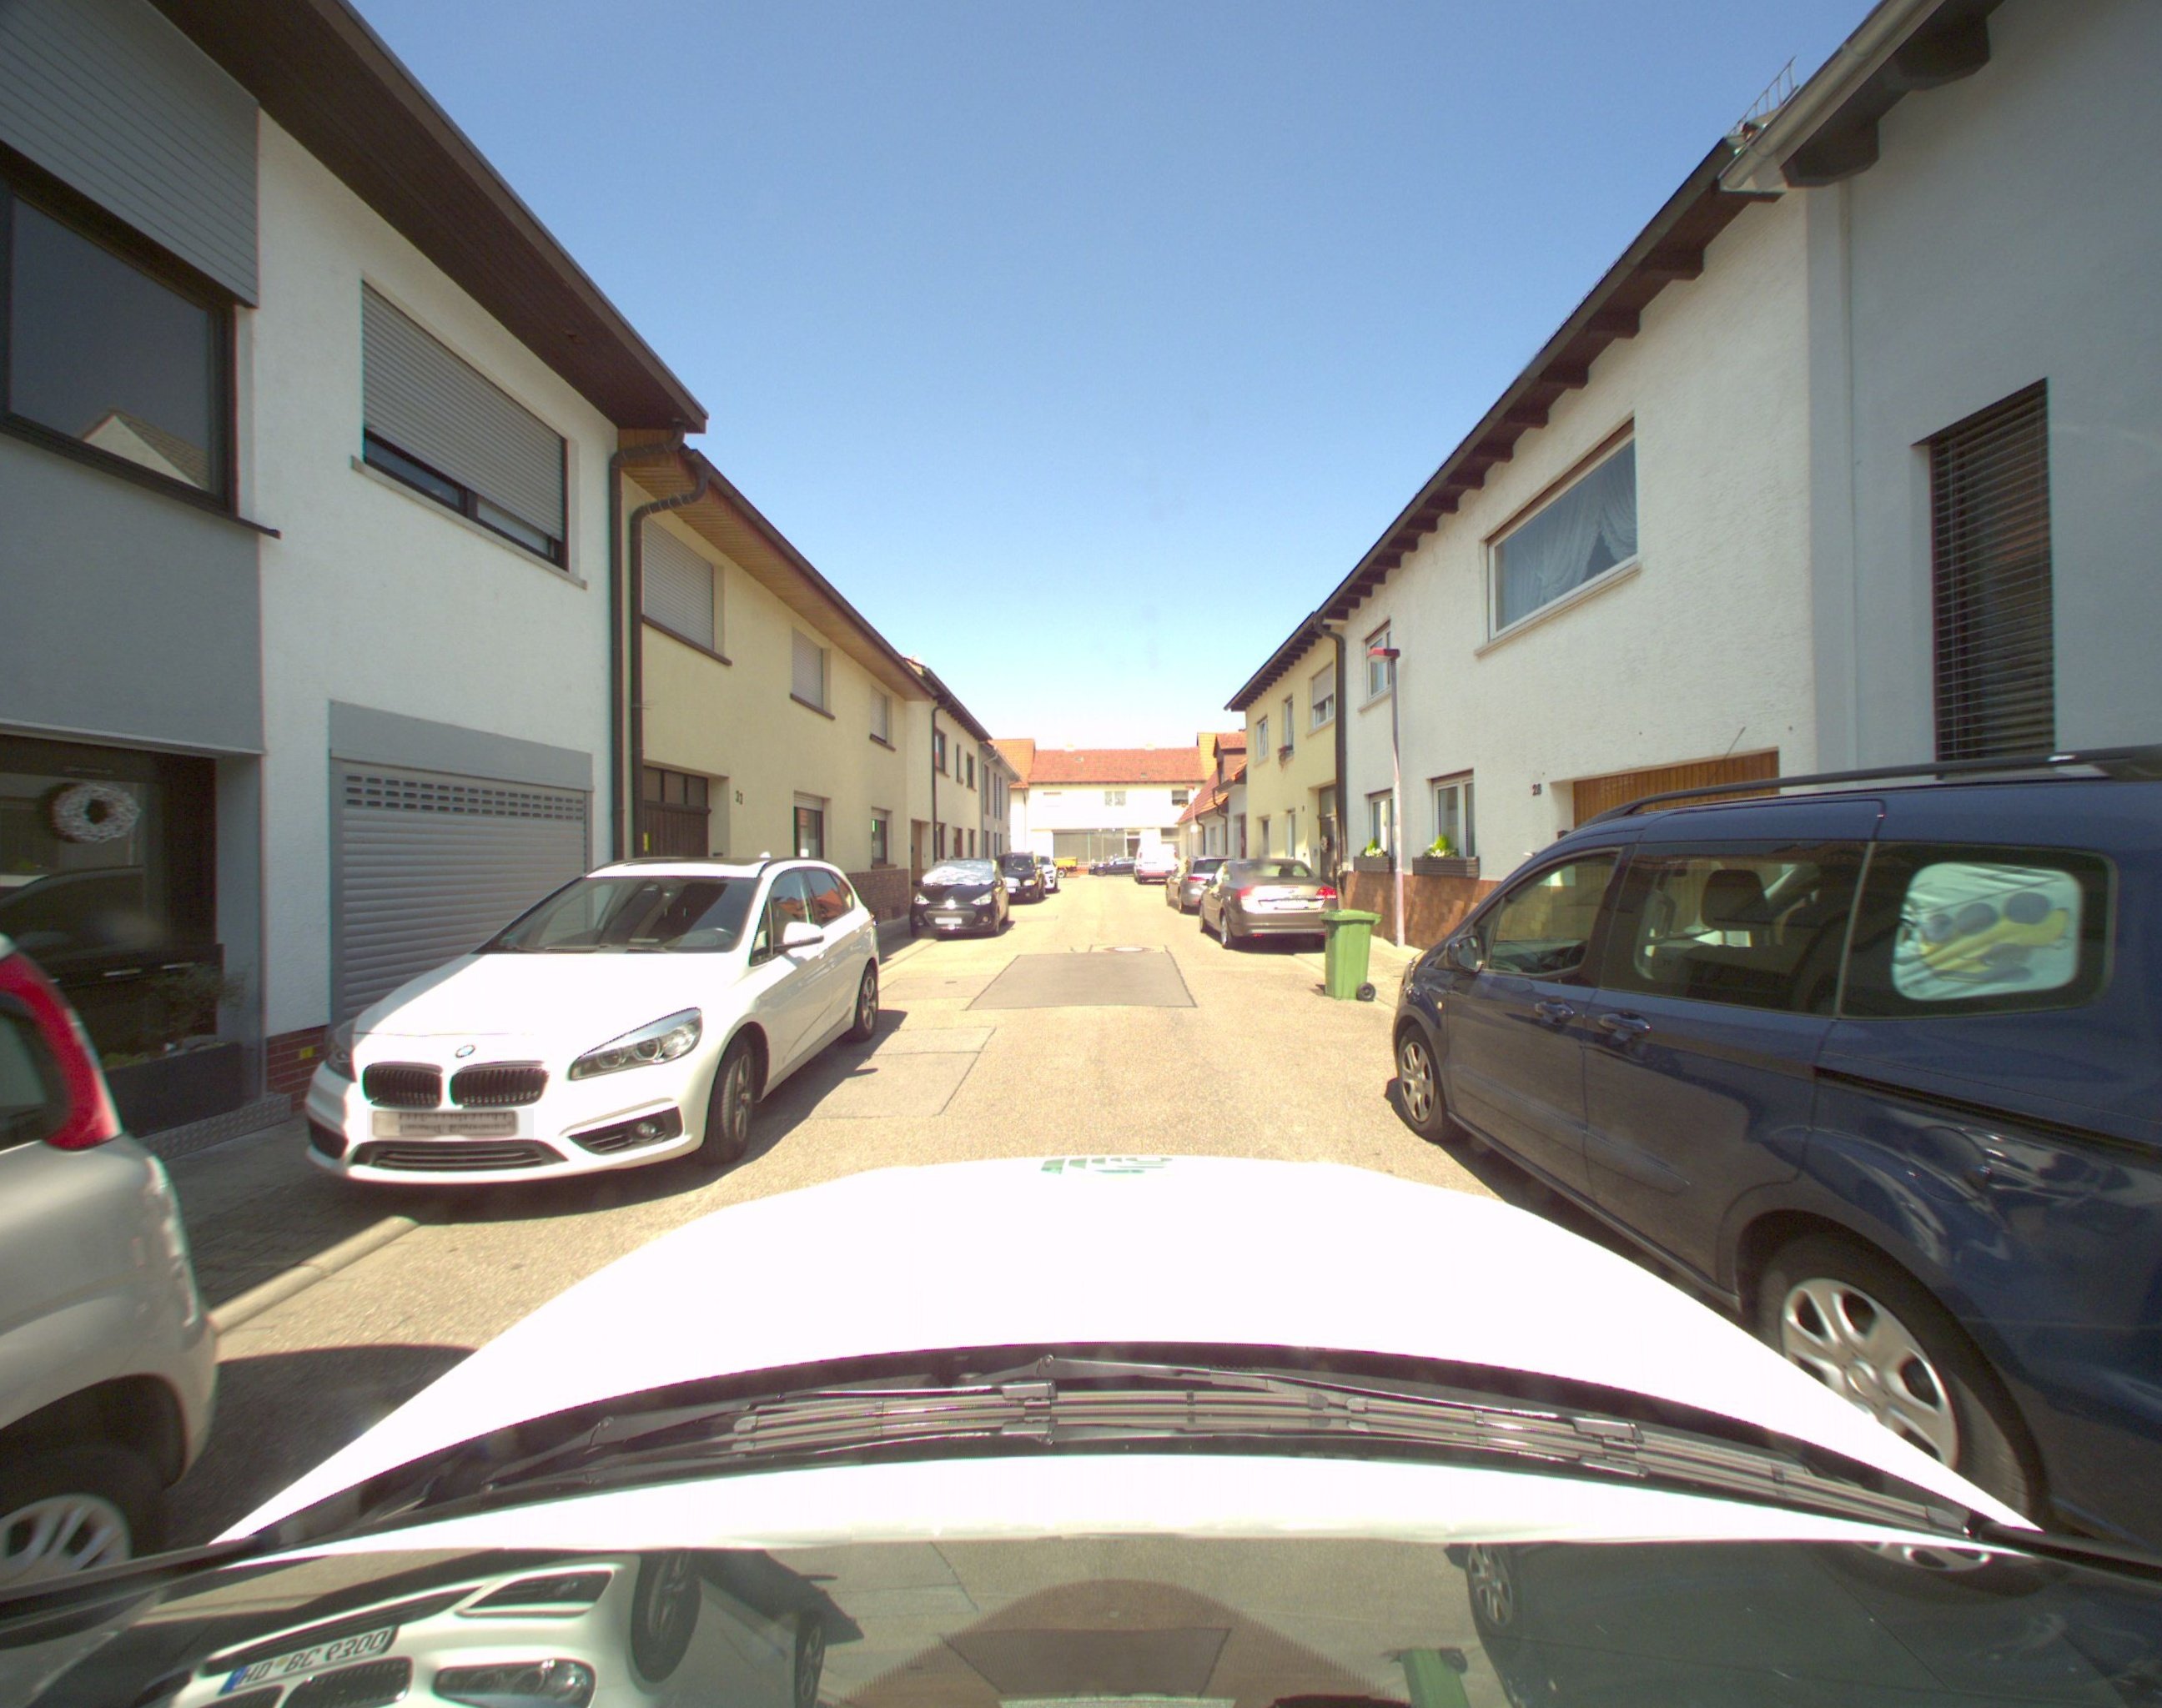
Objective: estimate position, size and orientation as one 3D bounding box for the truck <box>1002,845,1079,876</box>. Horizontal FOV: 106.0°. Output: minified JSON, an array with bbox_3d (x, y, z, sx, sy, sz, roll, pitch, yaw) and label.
[{"bbox_3d":[-2.690,0.432,54.998,5.045,2.014,2.190,-1,-1,1],"label":"truck"}]

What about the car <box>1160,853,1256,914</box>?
[{"bbox_3d":[3.260,0.717,21.832,1.832,1.448,4.775,0,0,0],"label":"car"}]

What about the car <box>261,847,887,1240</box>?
[{"bbox_3d":[-2.557,0.782,5.337,1.658,1.549,3.940,-2,0,-2],"label":"car"}]

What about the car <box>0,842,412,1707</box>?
[{"bbox_3d":[-2.569,0.764,0.284,1.658,1.541,3.686,-1,0,-2],"label":"car"}]

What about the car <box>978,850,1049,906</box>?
[{"bbox_3d":[-2.100,0.708,26.359,1.715,1.615,3.992,-2,0,3],"label":"car"}]

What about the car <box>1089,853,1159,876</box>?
[{"bbox_3d":[2.857,0.699,54.839,4.602,1.394,1.927,-1,-3,-1],"label":"car"}]

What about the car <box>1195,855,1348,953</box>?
[{"bbox_3d":[3.104,0.744,14.074,1.691,1.435,4.102,0,0,0],"label":"car"}]

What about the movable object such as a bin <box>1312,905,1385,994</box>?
[{"bbox_3d":[2.886,1.019,8.818,0.549,0.892,0.578,-1,-1,-6],"label":"movable object such as a bin"}]

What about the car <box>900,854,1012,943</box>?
[{"bbox_3d":[-2.412,0.810,16.655,1.635,1.537,3.941,-2,0,0],"label":"car"}]

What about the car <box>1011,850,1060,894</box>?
[{"bbox_3d":[-1.767,0.691,32.915,1.769,1.615,4.346,-2,0,-1],"label":"car"}]

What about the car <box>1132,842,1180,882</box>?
[{"bbox_3d":[3.670,0.383,40.531,2.005,1.839,5.266,0,0,1],"label":"car"}]

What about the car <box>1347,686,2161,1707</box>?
[{"bbox_3d":[2.602,0.621,3.284,1.691,1.777,4.199,0,0,0],"label":"car"}]
